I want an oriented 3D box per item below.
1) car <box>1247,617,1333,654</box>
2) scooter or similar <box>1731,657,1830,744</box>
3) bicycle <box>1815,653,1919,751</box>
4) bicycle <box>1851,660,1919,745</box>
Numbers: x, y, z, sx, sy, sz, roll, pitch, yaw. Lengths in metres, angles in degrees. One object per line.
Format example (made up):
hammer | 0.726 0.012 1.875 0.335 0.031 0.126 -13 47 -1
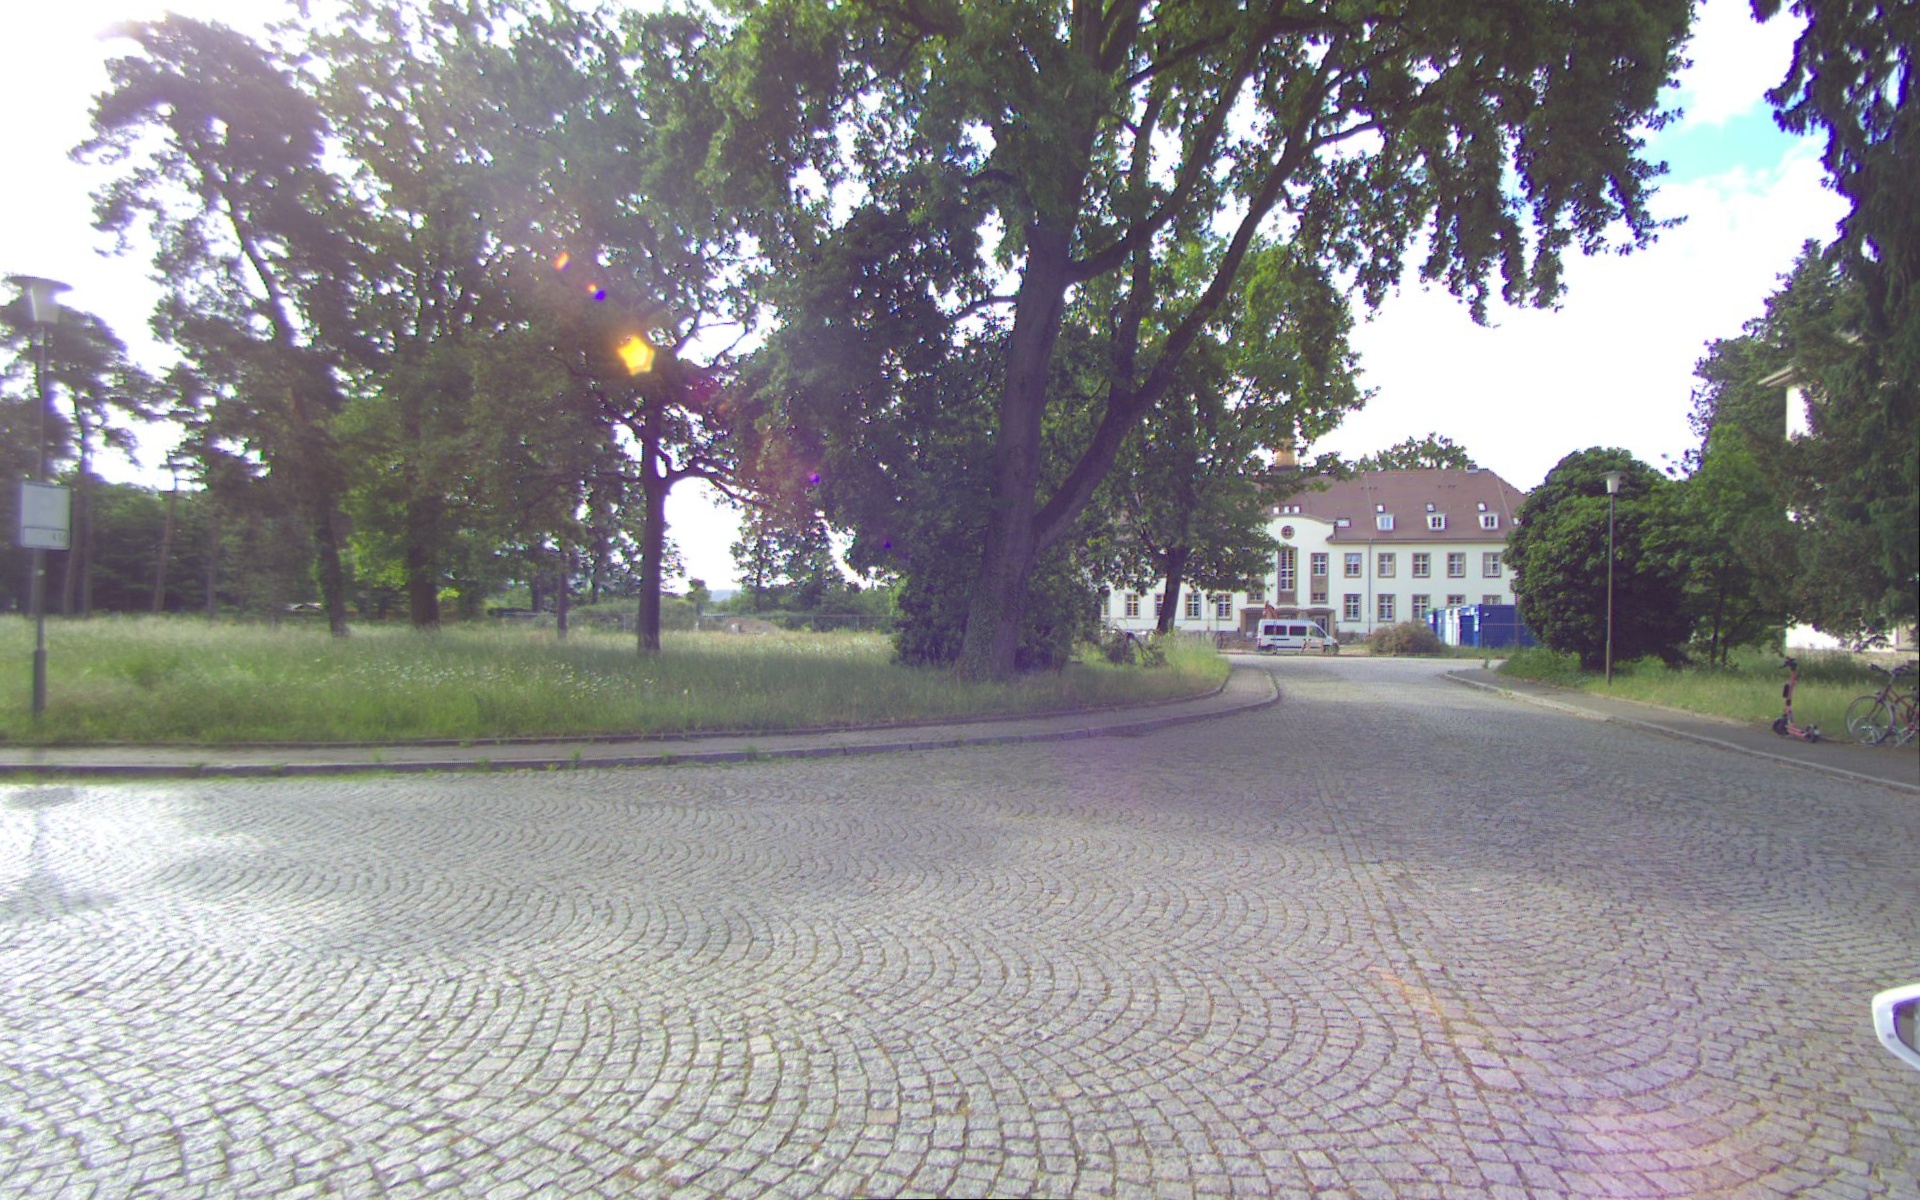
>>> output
car | 22.233 2.364 67.939 5.421 2.237 2.126 1 2 16
scooter or similar | 12.493 1.495 15.346 0.669 1.210 1.553 -1 -2 20
bicycle | 13.089 1.400 14.001 0.631 1.239 1.901 -1 -1 -2
bicycle | 13.751 1.459 14.099 0.631 1.129 1.991 -1 -1 -2
